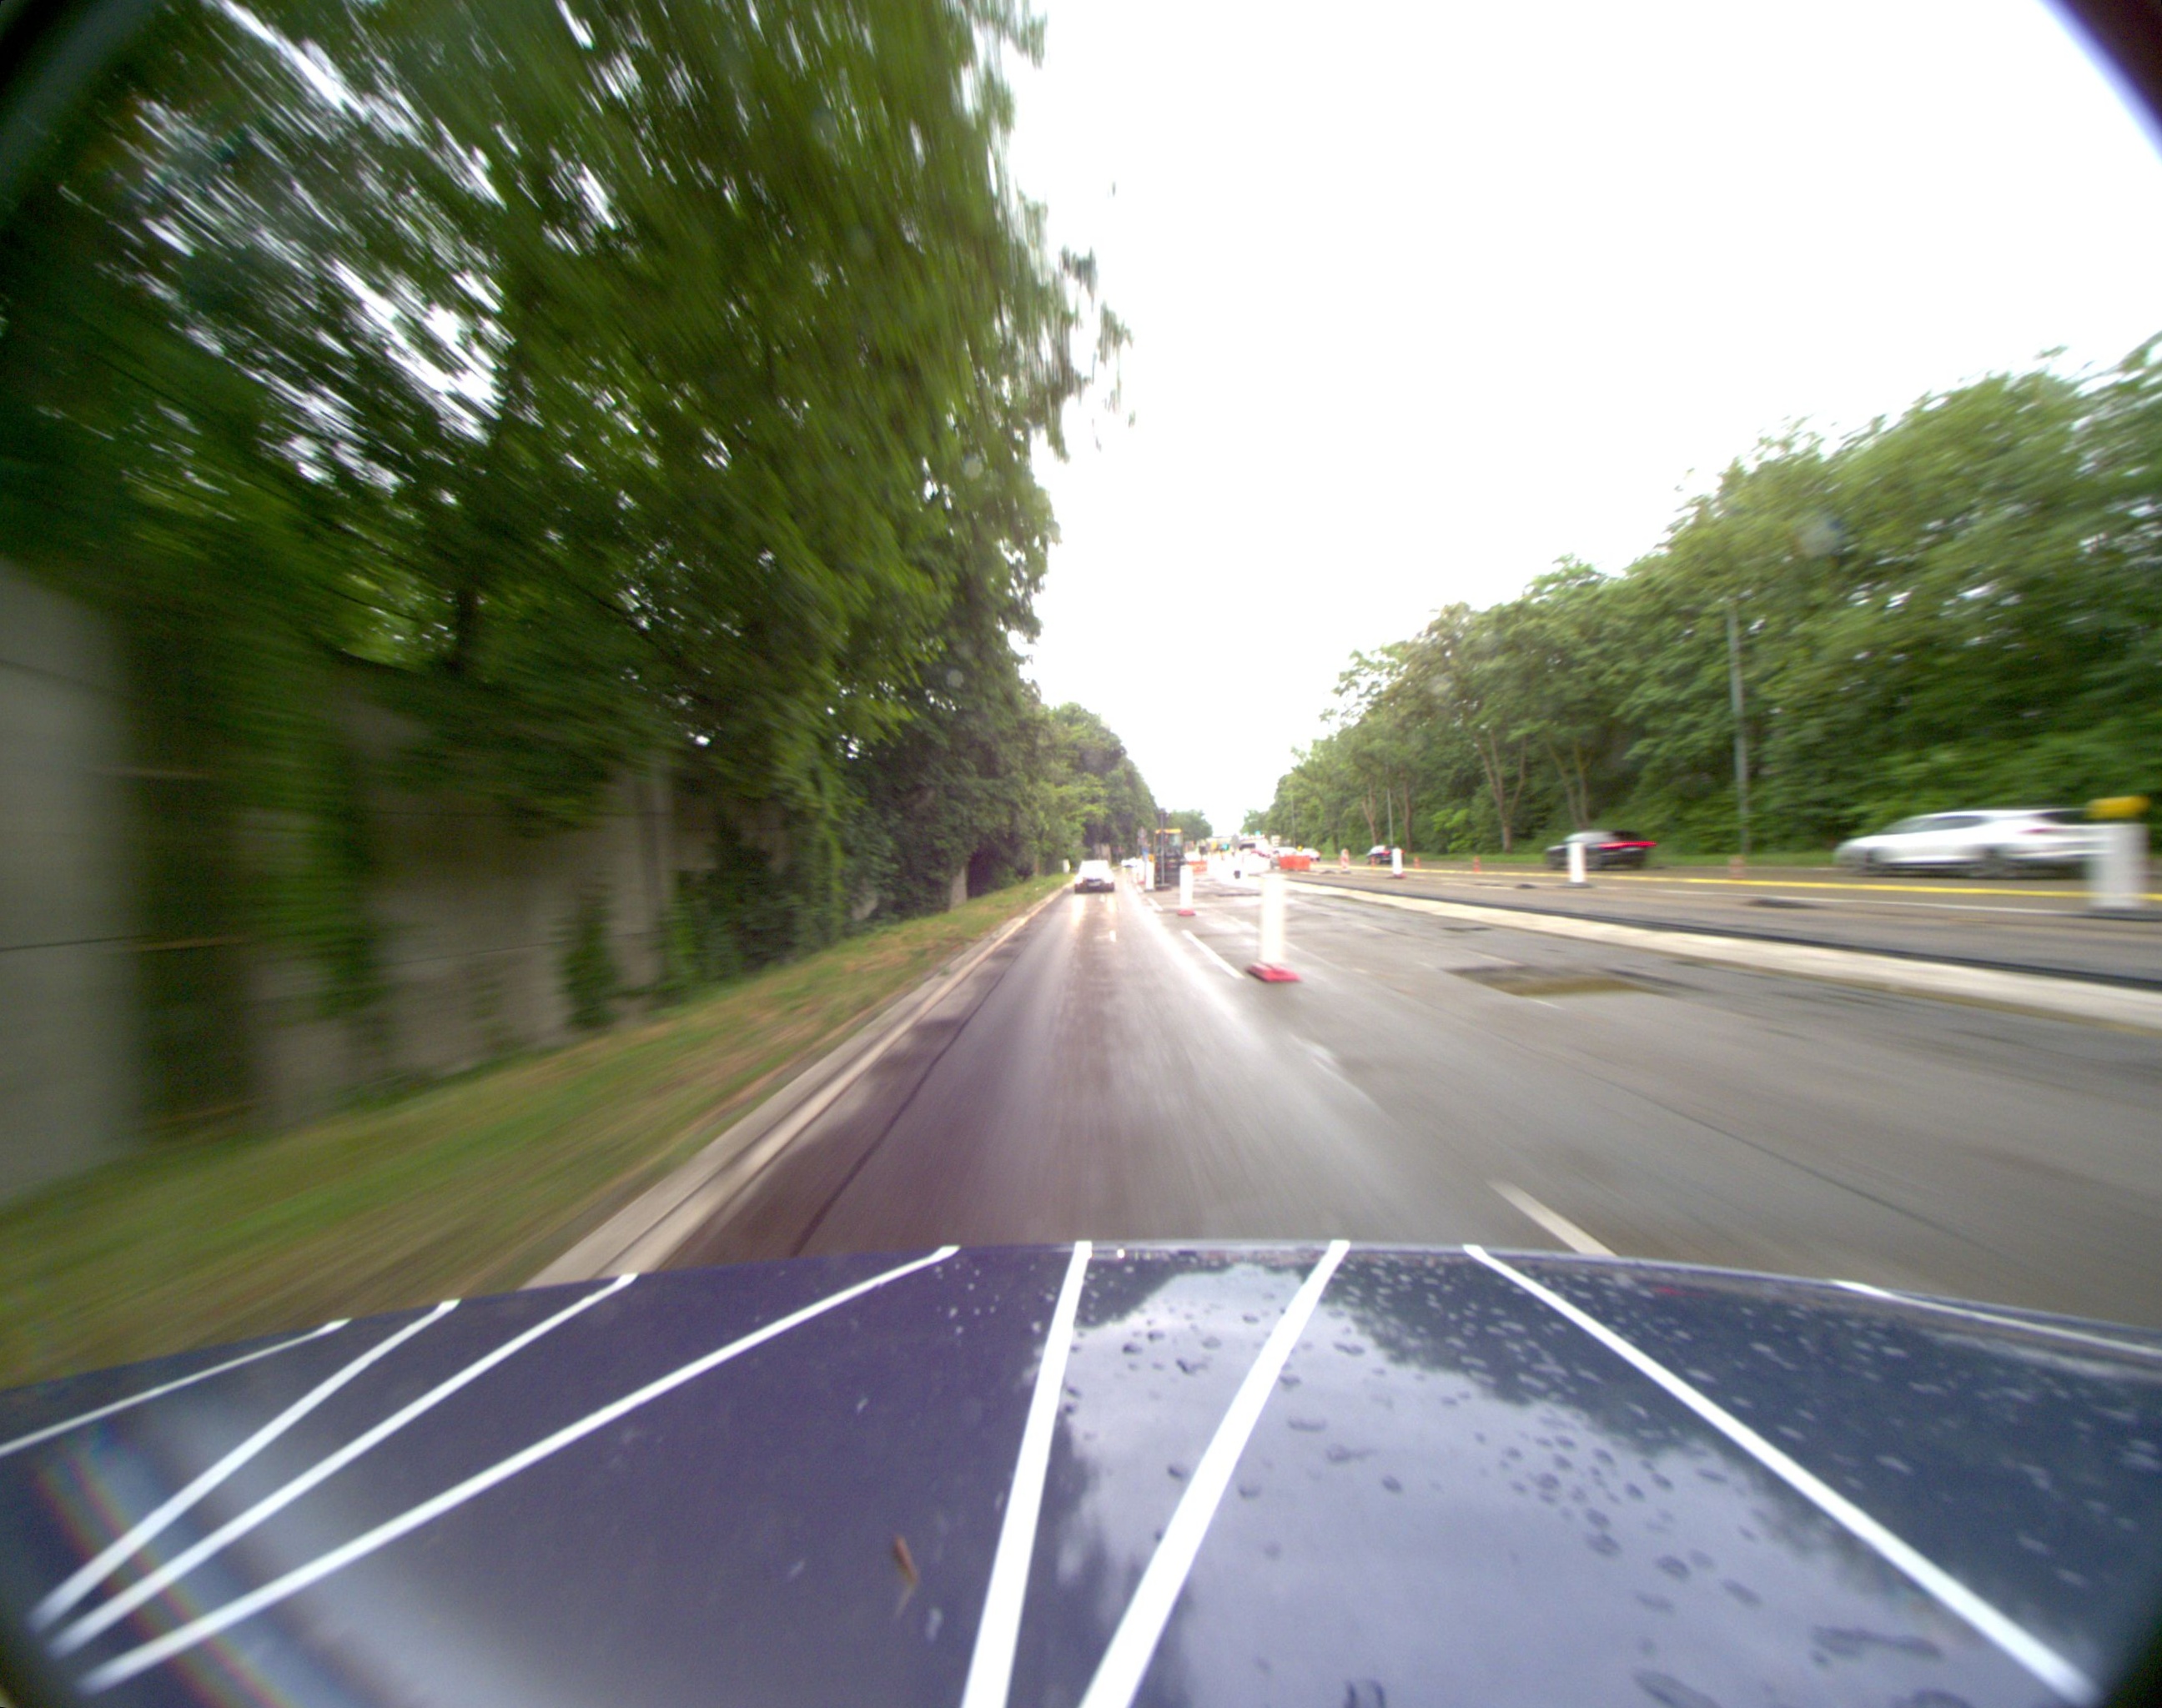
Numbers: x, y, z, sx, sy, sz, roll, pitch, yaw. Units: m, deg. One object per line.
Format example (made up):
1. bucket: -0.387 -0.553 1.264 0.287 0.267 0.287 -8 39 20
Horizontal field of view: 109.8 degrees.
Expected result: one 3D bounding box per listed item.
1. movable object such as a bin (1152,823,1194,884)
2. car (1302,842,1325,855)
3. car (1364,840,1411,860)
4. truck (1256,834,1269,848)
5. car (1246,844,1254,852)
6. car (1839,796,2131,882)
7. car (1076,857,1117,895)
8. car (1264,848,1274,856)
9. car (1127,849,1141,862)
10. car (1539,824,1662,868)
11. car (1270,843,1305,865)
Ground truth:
1. movable object such as a bin: 4.831 -0.056 40.651 1.808 2.968 5.246 -3 0 4
2. car: 25.995 -0.631 85.091 1.787 1.418 4.471 -3 0 8
3. car: 23.714 -0.294 59.002 1.788 1.444 4.681 -3 0 1
4. truck: 51.155 -3.753 214.270 3.148 3.809 9.654 -2 1 13
5. car: 37.652 -1.372 169.806 1.677 1.604 3.772 -2 0 12
6. car: 21.470 -0.324 18.389 1.781 1.741 4.379 -3 0 -1
7. car: 0.744 0.929 34.114 1.701 1.477 4.000 -2 1 2
8. car: 36.264 -0.320 146.489 1.623 1.475 3.610 -2 0 11
9. car: 7.676 0.190 109.510 1.707 1.681 4.473 -2 1 6
10. car: 21.742 -0.324 32.081 1.781 1.654 4.915 -2 0 -1
11. car: 16.033 -0.001 59.228 1.793 1.575 3.861 -4 0 3
